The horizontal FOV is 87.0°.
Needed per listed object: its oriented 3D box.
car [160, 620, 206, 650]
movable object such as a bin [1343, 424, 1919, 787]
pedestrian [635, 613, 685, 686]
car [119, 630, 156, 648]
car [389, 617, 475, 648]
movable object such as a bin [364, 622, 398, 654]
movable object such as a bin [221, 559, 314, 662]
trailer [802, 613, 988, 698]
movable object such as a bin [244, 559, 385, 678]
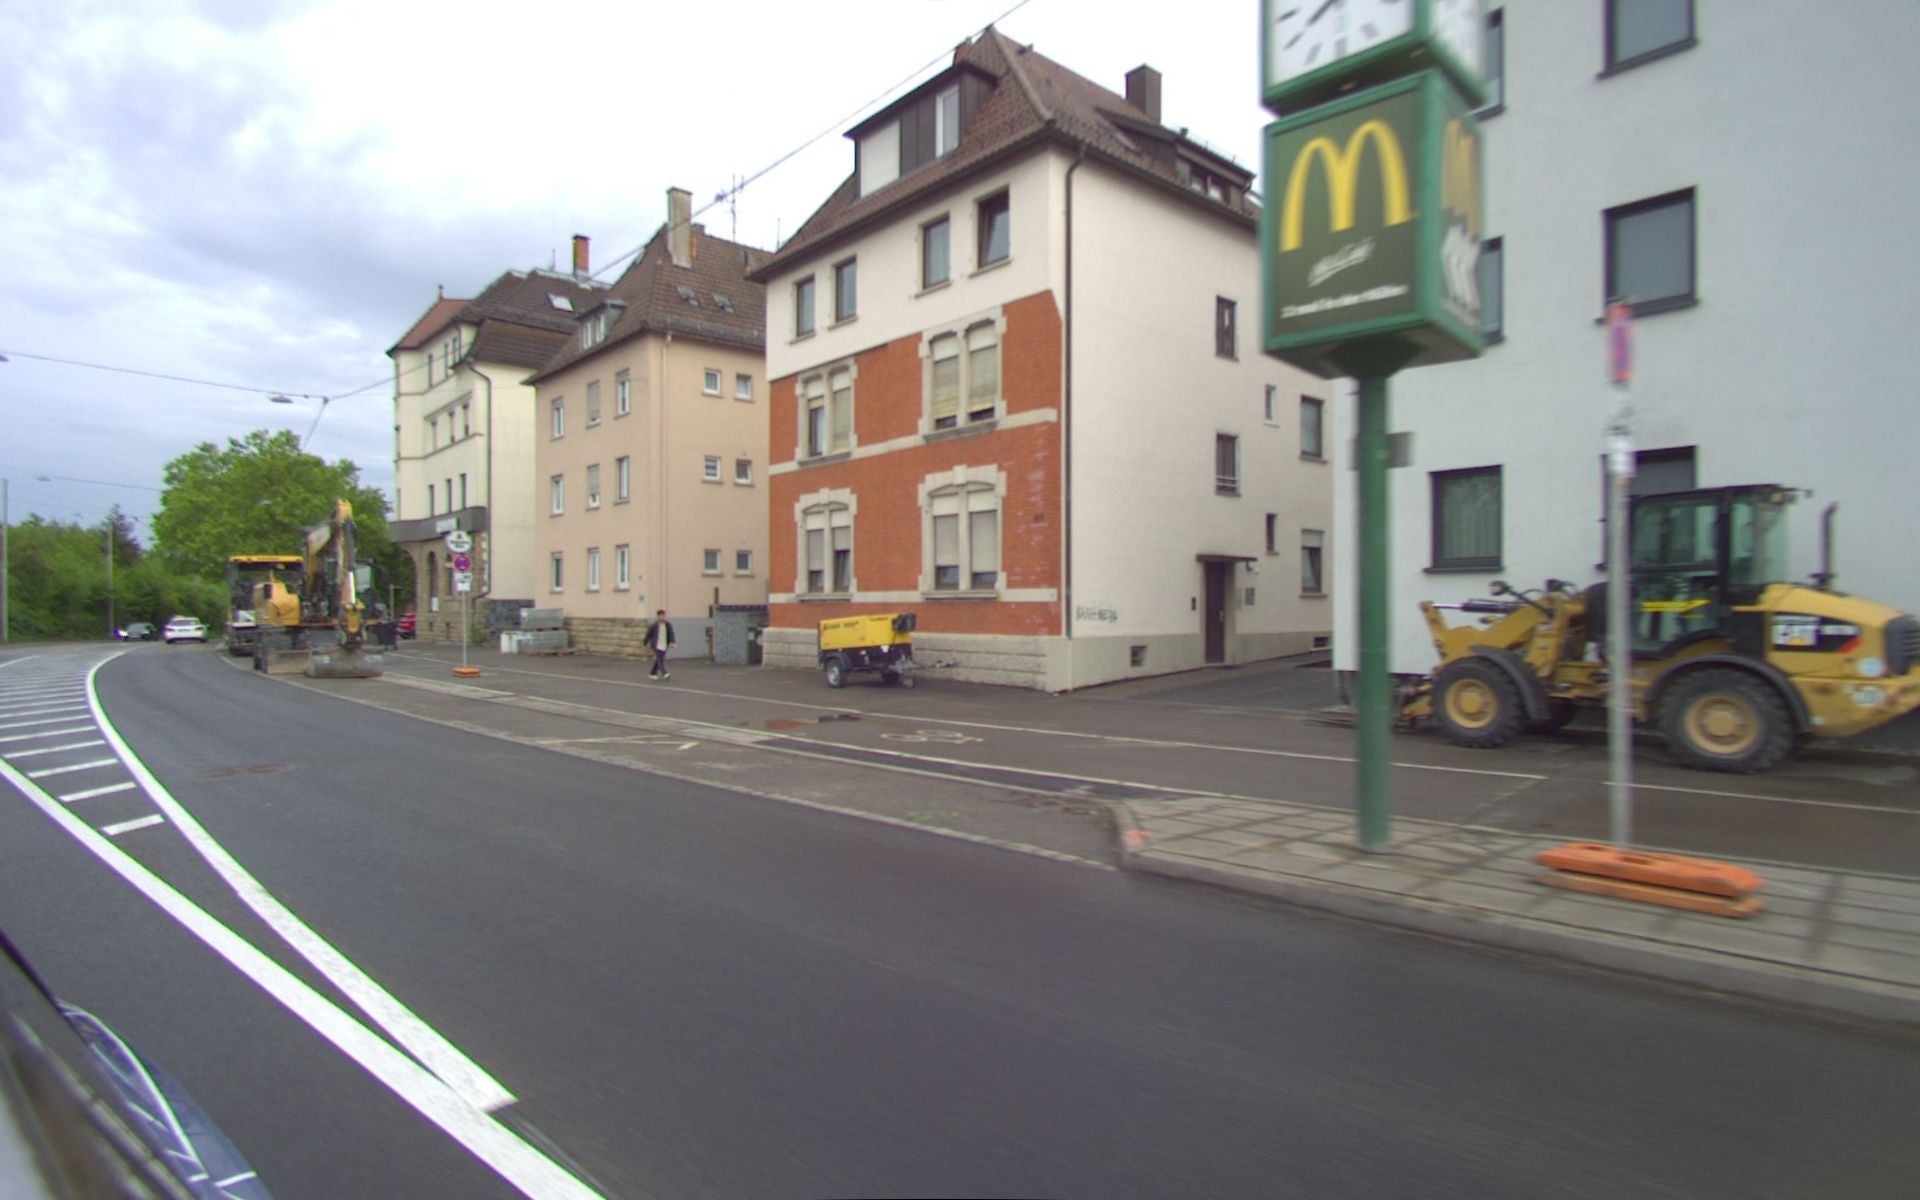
[{"bbox_3d":[-45.515,2.035,59.348,1.932,1.656,4.455,0,-1,-35],"label":"car"},{"bbox_3d":[6.827,0.065,10.336,2.102,2.828,4.987,-2,0,-39],"label":"movable object such as a bin"},{"bbox_3d":[-6.594,1.074,22.223,0.595,1.540,1.039,-2,0,-43],"label":"pedestrian"},{"bbox_3d":[-63.071,2.962,77.678,1.579,1.312,3.724,-2,-1,-29],"label":"car"},{"bbox_3d":[-29.696,1.801,56.960,3.937,1.677,1.914,0,-1,-41],"label":"car"},{"bbox_3d":[-24.409,1.575,42.659,1.142,1.312,1.250,0,-1,-36],"label":"movable object such as a bin"},{"bbox_3d":[-28.813,0.461,41.994,2.909,3.873,8.146,0,-1,-36],"label":"movable object such as a bin"},{"bbox_3d":[-1.316,0.971,18.881,1.307,1.409,4.002,-1,-1,-41],"label":"trailer"},{"bbox_3d":[-18.784,0.539,29.366,2.789,3.136,4.640,0,-2,-41],"label":"movable object such as a bin"}]
